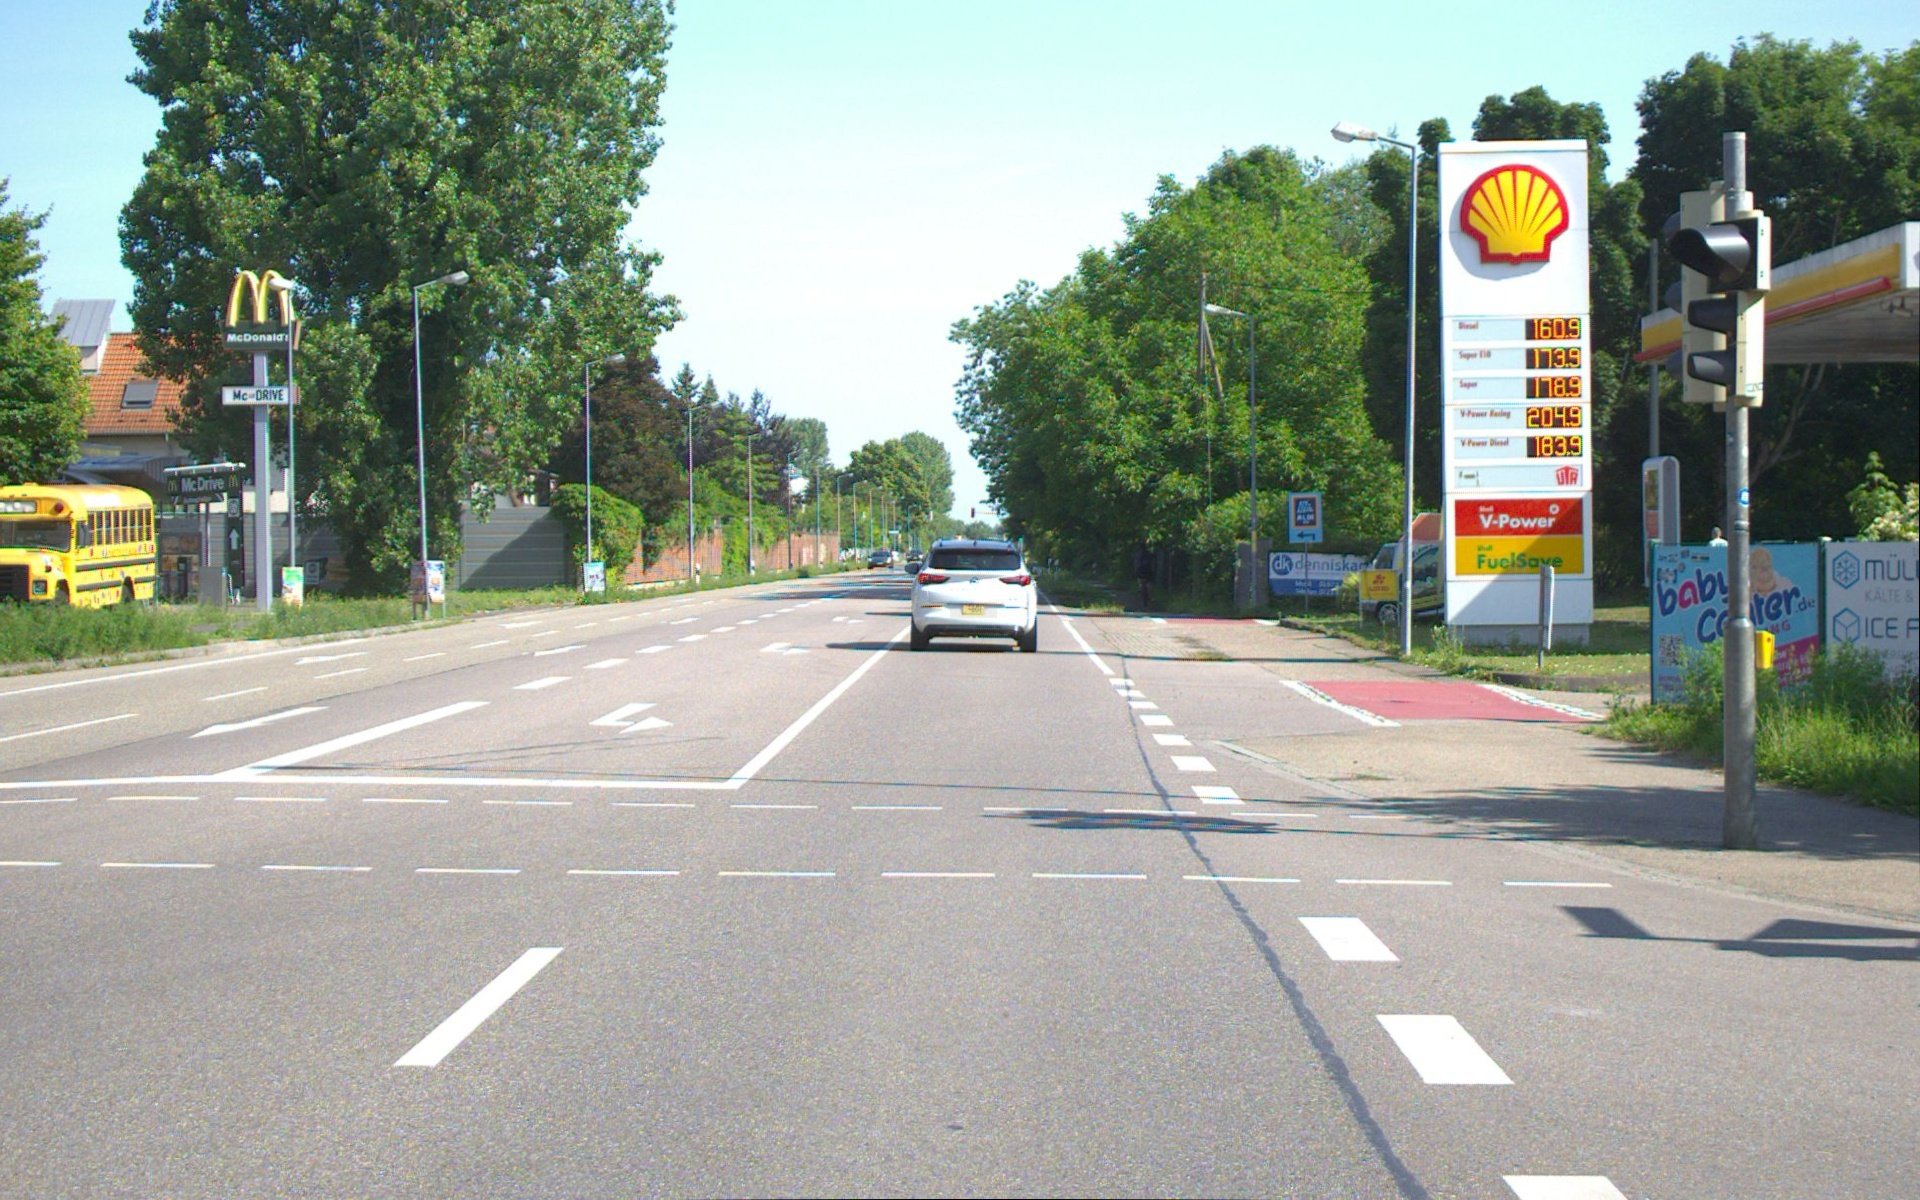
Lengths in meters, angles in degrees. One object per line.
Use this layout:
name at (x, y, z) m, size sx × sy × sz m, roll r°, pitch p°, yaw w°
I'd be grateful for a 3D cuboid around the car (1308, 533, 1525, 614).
car at (9.061, -0.528, 68.364) m, size 3.986 × 1.525 × 1.586 m, roll 1°, pitch 0°, yaw -6°

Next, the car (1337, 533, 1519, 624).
car at (8.149, -0.372, 59.942) m, size 1.573 × 1.525 × 2.729 m, roll 1°, pitch -1°, yaw -45°

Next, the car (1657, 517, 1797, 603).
car at (16.591, -0.862, 74.519) m, size 1.993 × 1.760 × 4.000 m, roll 1°, pitch 0°, yaw -2°

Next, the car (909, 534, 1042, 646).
car at (0.249, -0.160, 50.745) m, size 1.847 × 1.536 × 4.224 m, roll 1°, pitch 0°, yaw 1°

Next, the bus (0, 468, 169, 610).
bus at (-18.302, -1.216, 69.653) m, size 2.579 × 2.670 × 8.997 m, roll 1°, pitch 1°, yaw -1°
